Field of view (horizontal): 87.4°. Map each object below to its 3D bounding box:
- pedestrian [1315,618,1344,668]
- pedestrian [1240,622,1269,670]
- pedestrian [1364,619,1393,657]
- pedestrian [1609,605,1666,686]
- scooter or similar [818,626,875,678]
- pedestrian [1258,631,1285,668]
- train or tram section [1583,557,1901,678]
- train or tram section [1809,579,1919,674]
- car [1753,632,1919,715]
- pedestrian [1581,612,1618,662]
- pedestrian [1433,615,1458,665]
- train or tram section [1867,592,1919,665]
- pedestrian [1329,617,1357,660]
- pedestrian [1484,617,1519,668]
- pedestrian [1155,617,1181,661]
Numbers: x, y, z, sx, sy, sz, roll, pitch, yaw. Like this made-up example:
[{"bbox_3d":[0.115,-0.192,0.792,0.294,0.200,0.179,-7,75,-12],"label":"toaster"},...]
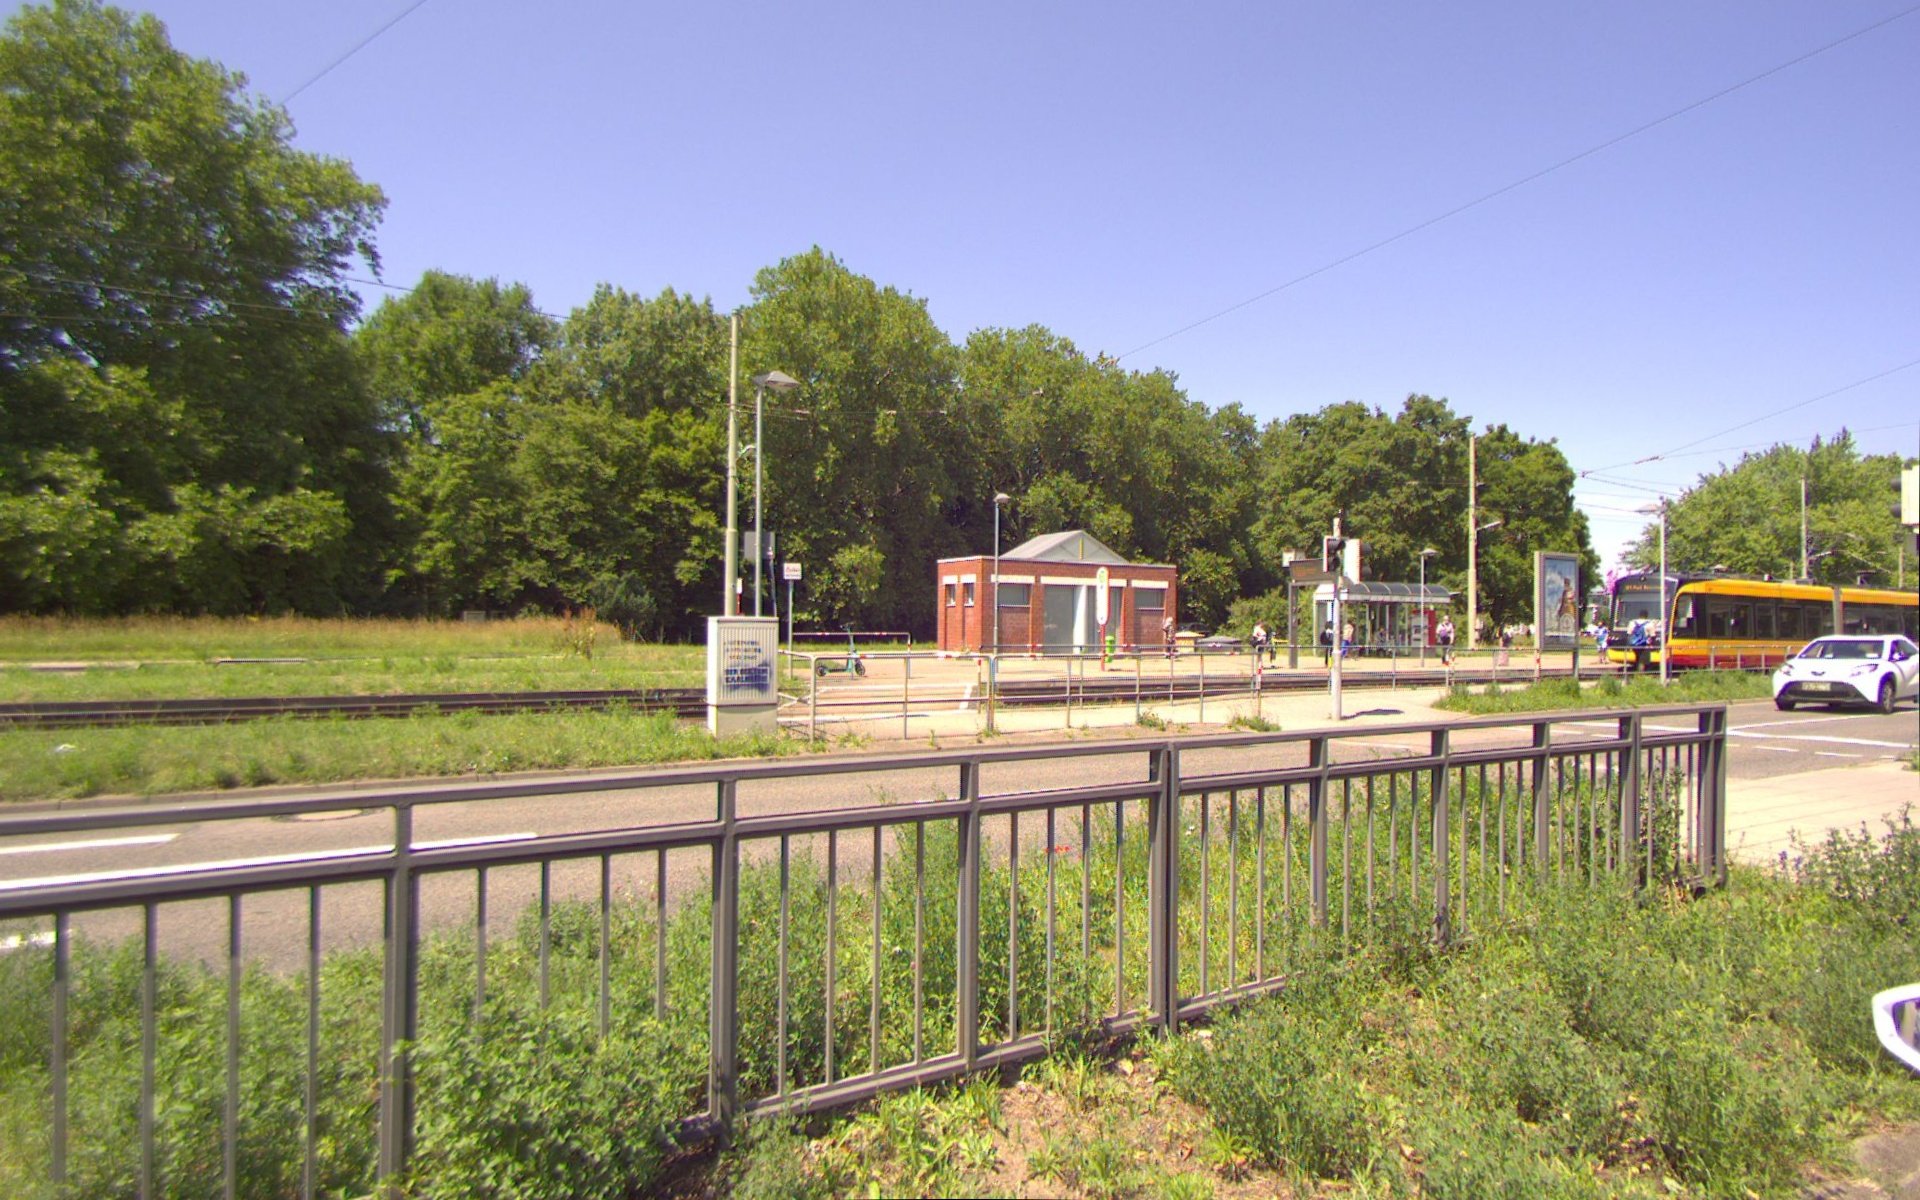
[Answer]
[{"bbox_3d":[11.892,1.389,32.348,0.688,1.575,0.629,1,-1,-42],"label":"pedestrian"},{"bbox_3d":[9.171,1.418,31.313,0.576,1.476,0.636,1,-1,-30],"label":"pedestrian"},{"bbox_3d":[17.238,1.574,41.370,0.710,1.531,0.841,1,-1,-19],"label":"pedestrian"},{"bbox_3d":[15.847,1.040,23.490,0.832,1.802,0.714,-1,5,-30],"label":"pedestrian"},{"bbox_3d":[-2.643,1.203,23.444,1.217,1.183,0.508,1,-1,-30],"label":"scooter or similar"},{"bbox_3d":[9.920,1.571,31.988,0.563,1.139,0.636,1,-1,-30],"label":"pedestrian"},{"bbox_3d":[30.982,0.795,39.131,18.281,3.984,3.200,1,-1,-30],"label":"train or tram section"},{"bbox_3d":[46.053,1.332,49.090,18.331,3.984,3.192,2,-1,-38],"label":"train or tram section"},{"bbox_3d":[18.088,1.427,20.440,3.747,1.514,1.836,1,-1,-30],"label":"car"},{"bbox_3d":[26.507,1.536,41.642,1.009,2.040,0.976,1,-1,-30],"label":"pedestrian"},{"bbox_3d":[18.158,1.497,37.576,0.707,1.824,0.845,0,-1,17],"label":"pedestrian"},{"bbox_3d":[58.534,1.761,61.499,3.176,3.984,18.423,0,-1,38],"label":"train or tram section"},{"bbox_3d":[14.649,1.471,38.402,0.799,1.611,0.668,1,-1,-30],"label":"pedestrian"},{"bbox_3d":[20.026,1.551,37.150,0.832,1.802,0.714,-1,5,-30],"label":"pedestrian"},{"bbox_3d":[7.143,1.332,34.497,0.563,1.499,0.636,1,-1,-30],"label":"pedestrian"}]
